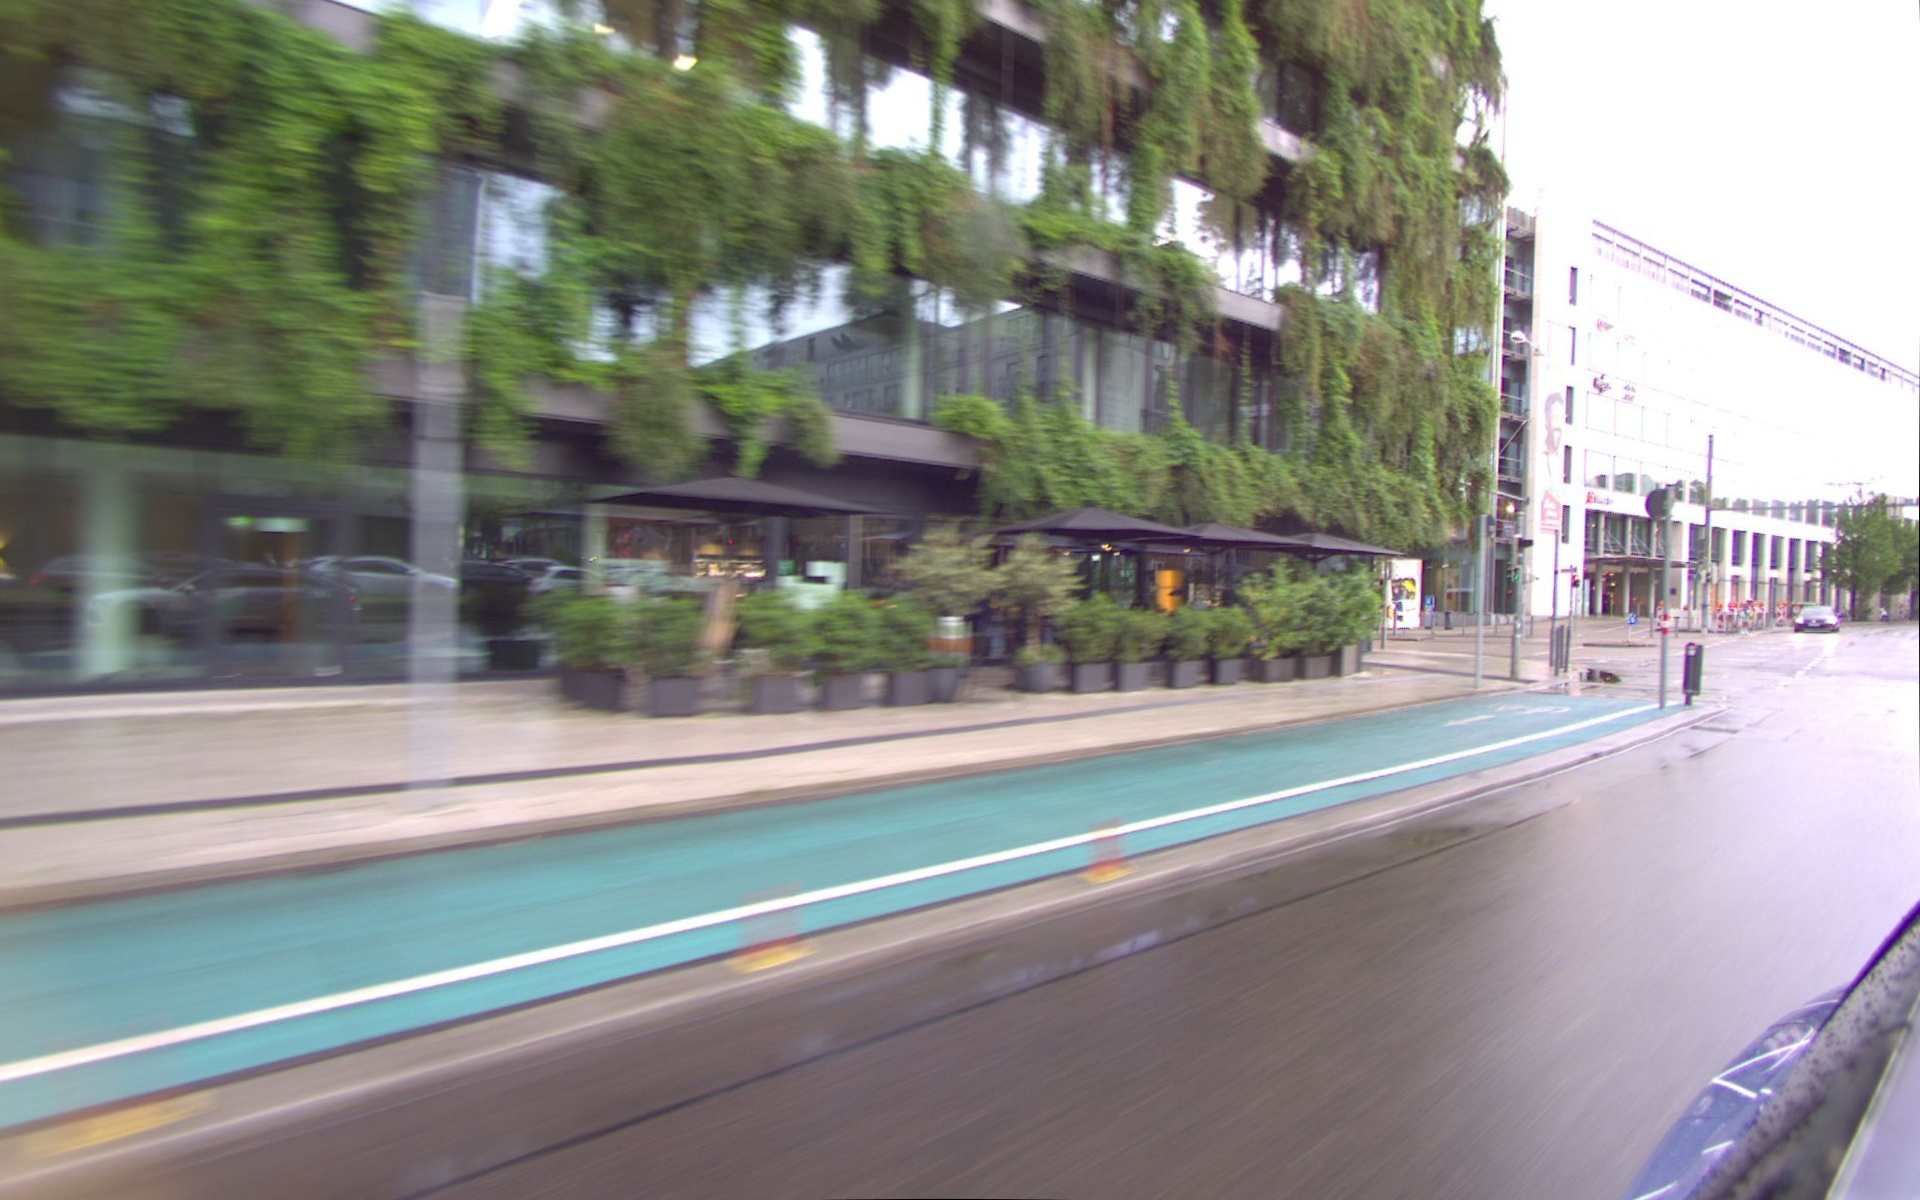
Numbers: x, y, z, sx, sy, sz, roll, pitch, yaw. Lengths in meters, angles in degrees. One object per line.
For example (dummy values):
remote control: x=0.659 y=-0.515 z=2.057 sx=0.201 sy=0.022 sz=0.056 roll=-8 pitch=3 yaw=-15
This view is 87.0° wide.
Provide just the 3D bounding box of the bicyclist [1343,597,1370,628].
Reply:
bicyclist: x=17.309 y=0.546 z=44.182 sx=0.779 sy=1.353 sz=0.744 roll=0 pitch=-1 yaw=-24

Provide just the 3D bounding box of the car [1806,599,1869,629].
car: x=47.961 y=0.753 z=55.260 sx=4.585 sy=1.572 sz=1.739 roll=0 pitch=-1 yaw=-38

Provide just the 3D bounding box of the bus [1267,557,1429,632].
bus: x=20.237 y=-0.254 z=53.372 sx=2.633 sy=3.634 sz=8.094 roll=1 pitch=-1 yaw=-31

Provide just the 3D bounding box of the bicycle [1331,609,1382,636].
bicycle: x=17.302 y=0.968 z=44.212 sx=0.792 sy=1.150 sz=2.093 roll=0 pitch=-1 yaw=-26

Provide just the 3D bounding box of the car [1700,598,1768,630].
car: x=40.616 y=0.722 z=53.070 sx=4.584 sy=1.572 sz=1.739 roll=0 pitch=0 yaw=-38
